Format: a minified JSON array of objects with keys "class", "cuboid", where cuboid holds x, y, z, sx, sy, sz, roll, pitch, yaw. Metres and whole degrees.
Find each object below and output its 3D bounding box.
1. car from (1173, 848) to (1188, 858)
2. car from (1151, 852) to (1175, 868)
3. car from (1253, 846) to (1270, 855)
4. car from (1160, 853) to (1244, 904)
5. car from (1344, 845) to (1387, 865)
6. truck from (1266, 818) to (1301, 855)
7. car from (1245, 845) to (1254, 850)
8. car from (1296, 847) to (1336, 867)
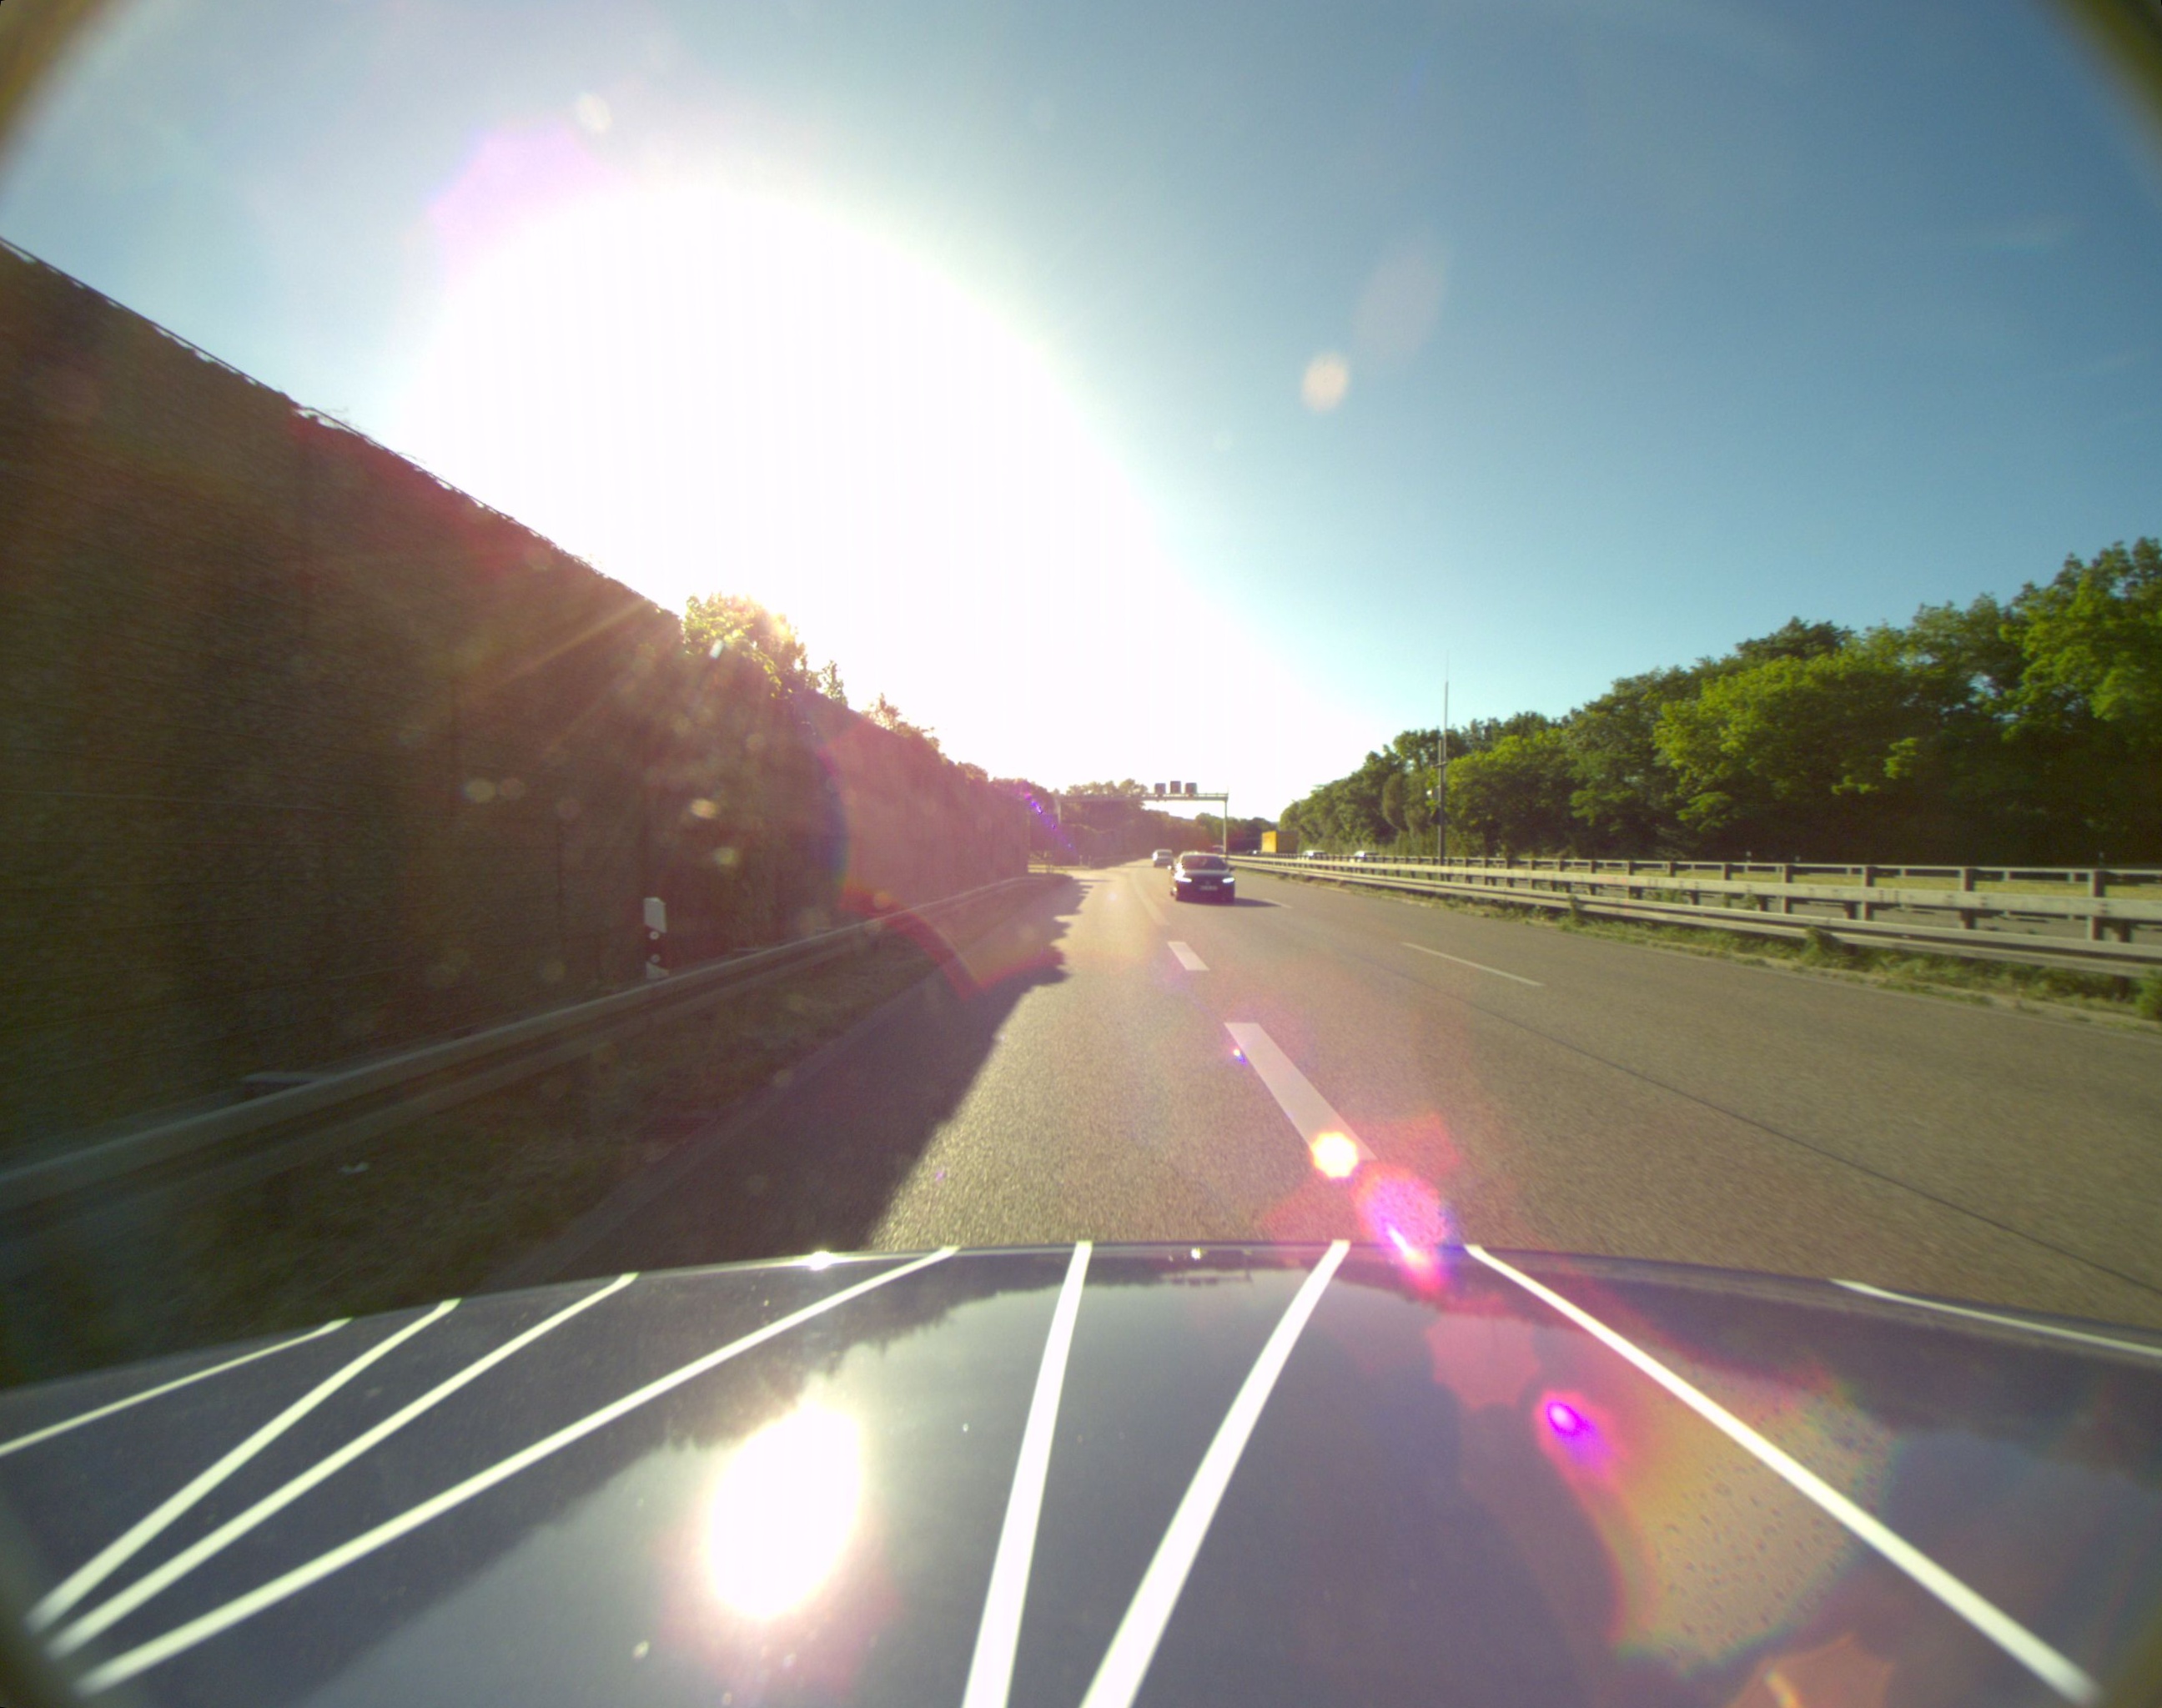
[{"class":"car","cuboid":[14.739,-0.235,112.852,1.998,1.406,4.832,-1,1,5]},{"class":"car","cuboid":[7.583,0.507,70.553,1.998,1.406,4.831,-1,1,4]},{"class":"car","cuboid":[29.954,-0.664,126.137,1.998,1.406,4.832,-1,1,5]},{"class":"car","cuboid":[3.756,0.705,24.434,1.998,1.406,4.830,1,1,1]},{"class":"car","cuboid":[21.982,0.047,58.891,1.998,1.406,4.832,-1,1,6]},{"class":"truck","cuboid":[25.588,-2.141,96.372,3.172,4.394,8.022,-2,1,8]},{"class":"car","cuboid":[43.493,-1.649,196.366,1.997,1.406,4.833,-1,1,9]},{"class":"car","cuboid":[18.022,0.204,58.424,1.998,1.406,4.832,-1,1,6]}]
